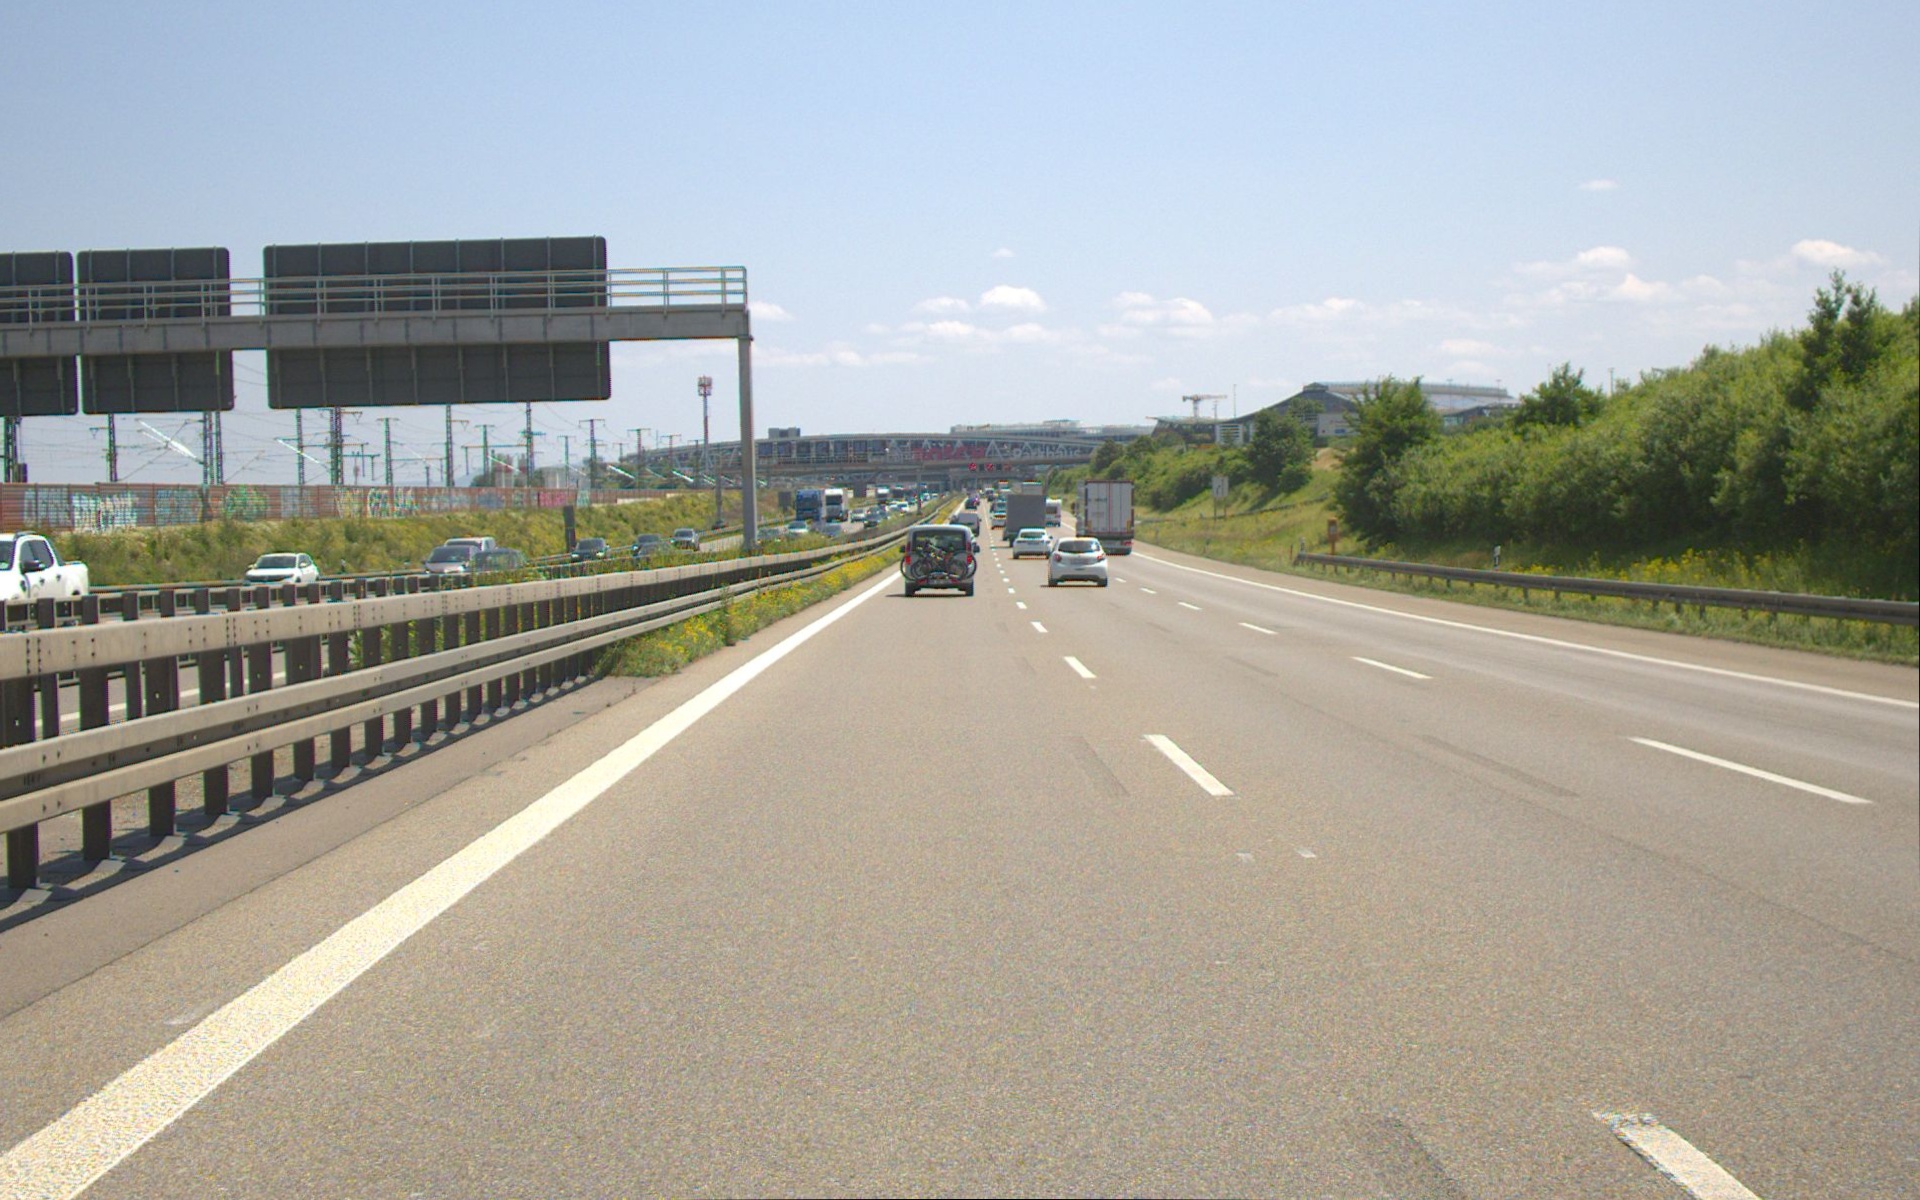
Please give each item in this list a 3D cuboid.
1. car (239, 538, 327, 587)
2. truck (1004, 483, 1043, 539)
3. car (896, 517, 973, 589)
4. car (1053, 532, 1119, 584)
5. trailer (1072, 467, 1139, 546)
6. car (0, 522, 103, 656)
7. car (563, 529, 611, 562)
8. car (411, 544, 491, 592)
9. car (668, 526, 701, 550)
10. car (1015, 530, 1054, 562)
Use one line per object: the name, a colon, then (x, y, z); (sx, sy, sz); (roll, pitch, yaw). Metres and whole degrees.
car: (-22.347, -1.245, 113.608); (1.993, 1.570, 4.477); (0, 1, 1)
truck: (3.925, -5.550, 213.110); (2.355, 3.404, 6.058); (0, 2, 1)
car: (-0.638, -1.215, 87.886); (1.881, 1.769, 4.000); (-1, 1, 1)
car: (3.773, -1.264, 102.580); (1.881, 1.521, 4.000); (0, 1, 3)
trailer: (7.759, -5.058, 184.797); (3.177, 4.045, 9.440); (-1, 2, 1)
car: (-14.058, -0.188, 49.693); (1.993, 1.824, 5.600); (0, 1, -1)
car: (-20.118, -2.956, 185.487); (1.993, 1.720, 4.513); (0, 1, 1)
car: (-17.298, -1.100, 116.986); (1.993, 1.570, 4.477); (0, 1, 1)
car: (-19.563, -4.409, 244.288); (1.993, 1.720, 4.513); (0, 1, 0)
car: (3.632, -2.620, 167.281); (1.881, 1.521, 4.000); (0, 1, 1)
